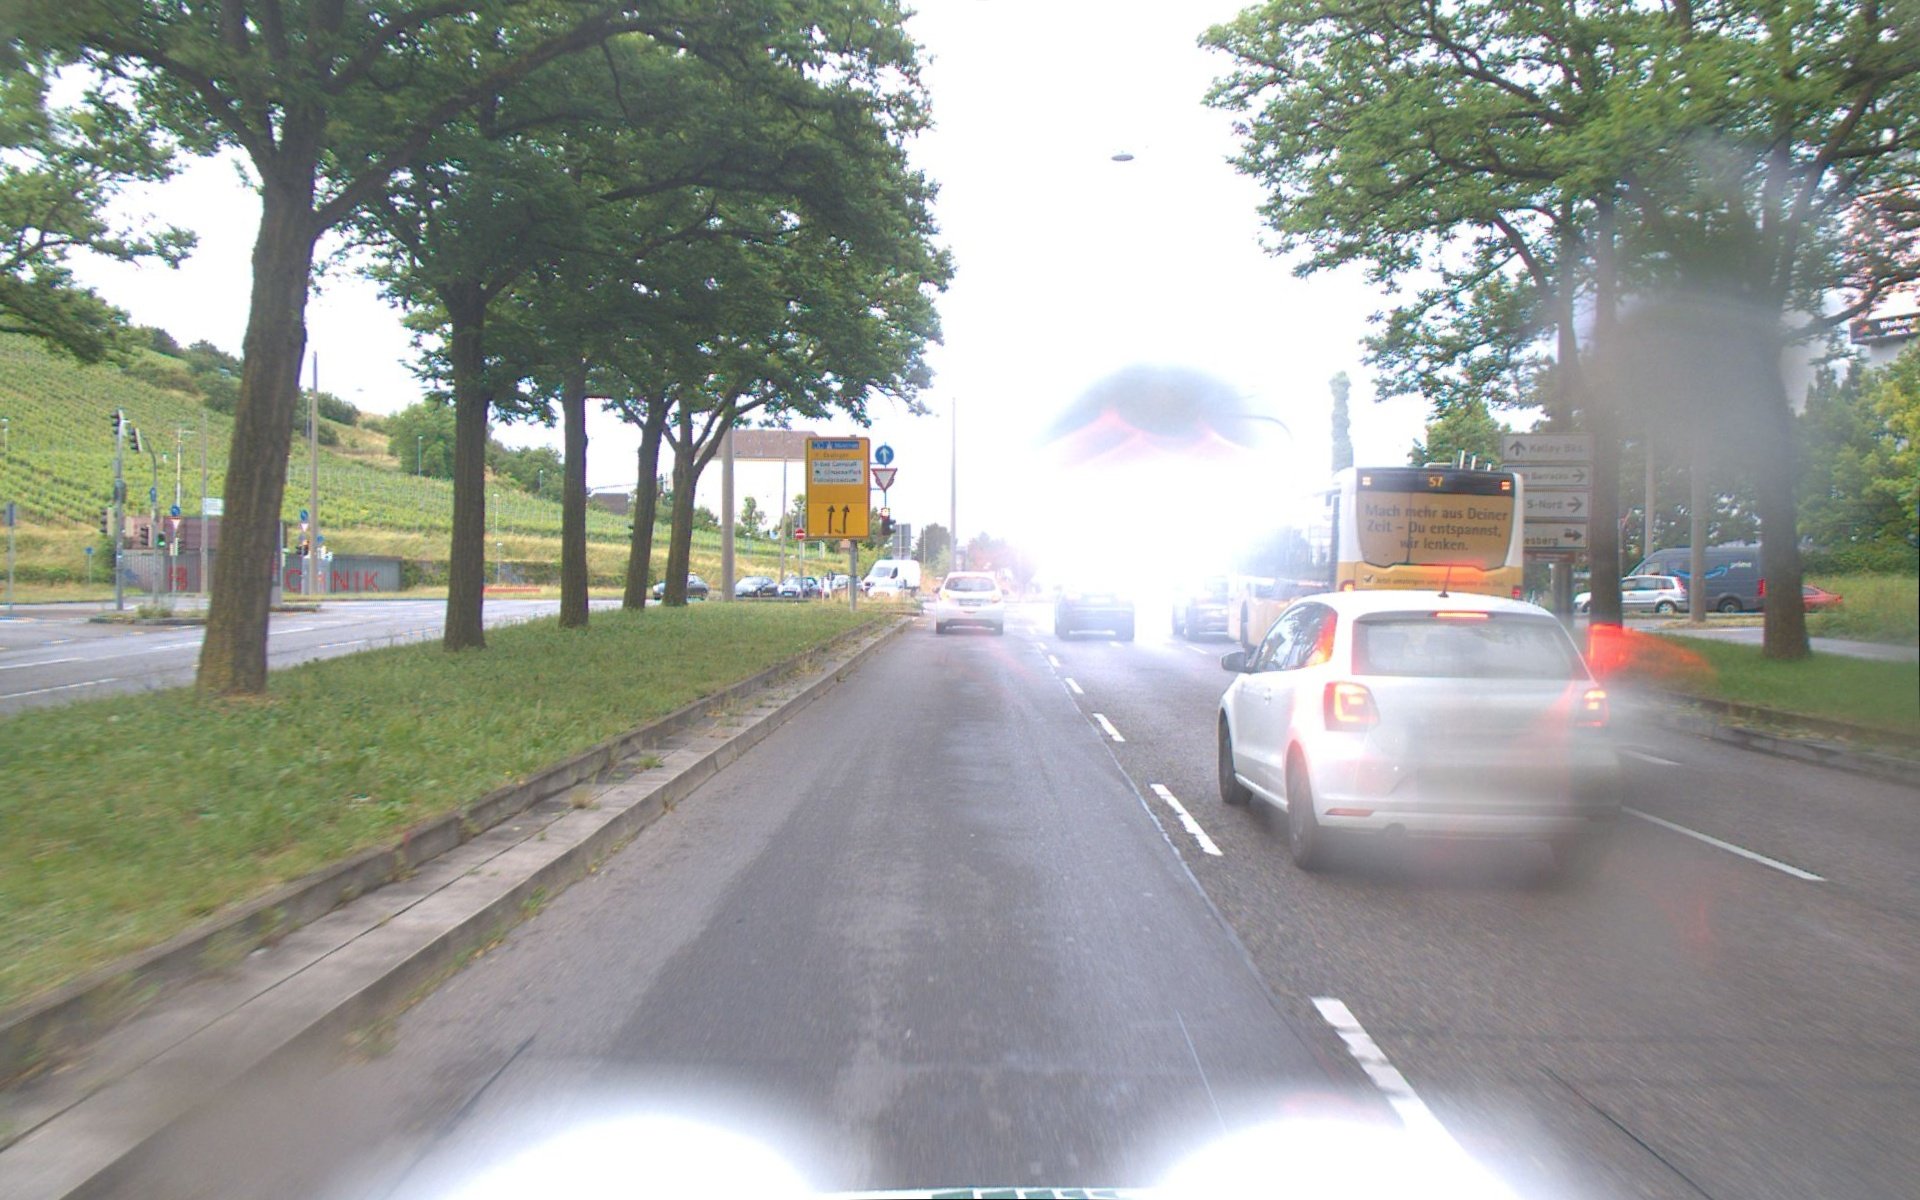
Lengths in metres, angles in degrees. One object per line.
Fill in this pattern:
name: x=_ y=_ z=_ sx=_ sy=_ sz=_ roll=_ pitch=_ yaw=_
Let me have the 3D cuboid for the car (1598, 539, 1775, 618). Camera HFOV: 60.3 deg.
car: x=27.044 y=-0.816 z=61.633 sx=5.895 sy=2.789 sz=2.078 roll=1 pitch=-1 yaw=28

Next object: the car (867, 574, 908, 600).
car: x=-4.187 y=-0.736 z=96.298 sx=1.738 sy=1.450 sz=4.377 roll=0 pitch=0 yaw=7

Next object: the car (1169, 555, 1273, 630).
car: x=6.334 y=-0.225 z=40.609 sx=1.827 sy=1.703 sz=4.566 roll=1 pitch=1 yaw=0

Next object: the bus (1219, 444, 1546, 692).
bus: x=6.571 y=-0.562 z=28.064 sx=2.670 sy=3.206 sz=12.150 roll=2 pitch=1 yaw=2

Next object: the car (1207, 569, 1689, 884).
car: x=2.638 y=0.600 z=9.883 sx=1.705 sy=1.457 sz=3.811 roll=2 pitch=0 yaw=0

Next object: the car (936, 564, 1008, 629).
car: x=0.328 y=-0.087 z=41.334 sx=1.682 sy=1.515 sz=4.001 roll=1 pitch=0 yaw=1

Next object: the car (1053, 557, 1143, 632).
car: x=3.252 y=-0.134 z=39.647 sx=1.845 sy=1.623 sz=4.114 roll=2 pitch=0 yaw=1

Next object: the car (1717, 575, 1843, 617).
car: x=32.886 y=-0.157 z=66.402 sx=4.435 sy=1.495 sz=2.160 roll=2 pitch=0 yaw=27

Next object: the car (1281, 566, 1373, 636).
car: x=8.806 y=0.033 z=39.460 sx=1.826 sy=1.524 sz=4.154 roll=2 pitch=0 yaw=17

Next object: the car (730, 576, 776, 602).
car: x=-12.181 y=-0.618 z=97.723 sx=1.748 sy=1.420 sz=3.884 roll=2 pitch=-1 yaw=7

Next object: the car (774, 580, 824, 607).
car: x=-9.272 y=-0.372 z=95.638 sx=1.748 sy=1.420 sz=3.885 roll=2 pitch=-1 yaw=11

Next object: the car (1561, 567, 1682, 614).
car: x=24.044 y=-0.345 z=60.108 sx=3.968 sy=1.596 sz=1.869 roll=1 pitch=-1 yaw=25

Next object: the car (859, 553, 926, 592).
car: x=-4.809 y=-1.972 z=119.082 sx=1.955 sy=2.603 sz=6.162 roll=2 pitch=0 yaw=27

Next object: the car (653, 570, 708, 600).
car: x=-16.206 y=-0.866 z=96.089 sx=1.790 sy=1.652 sz=4.570 roll=2 pitch=0 yaw=7
